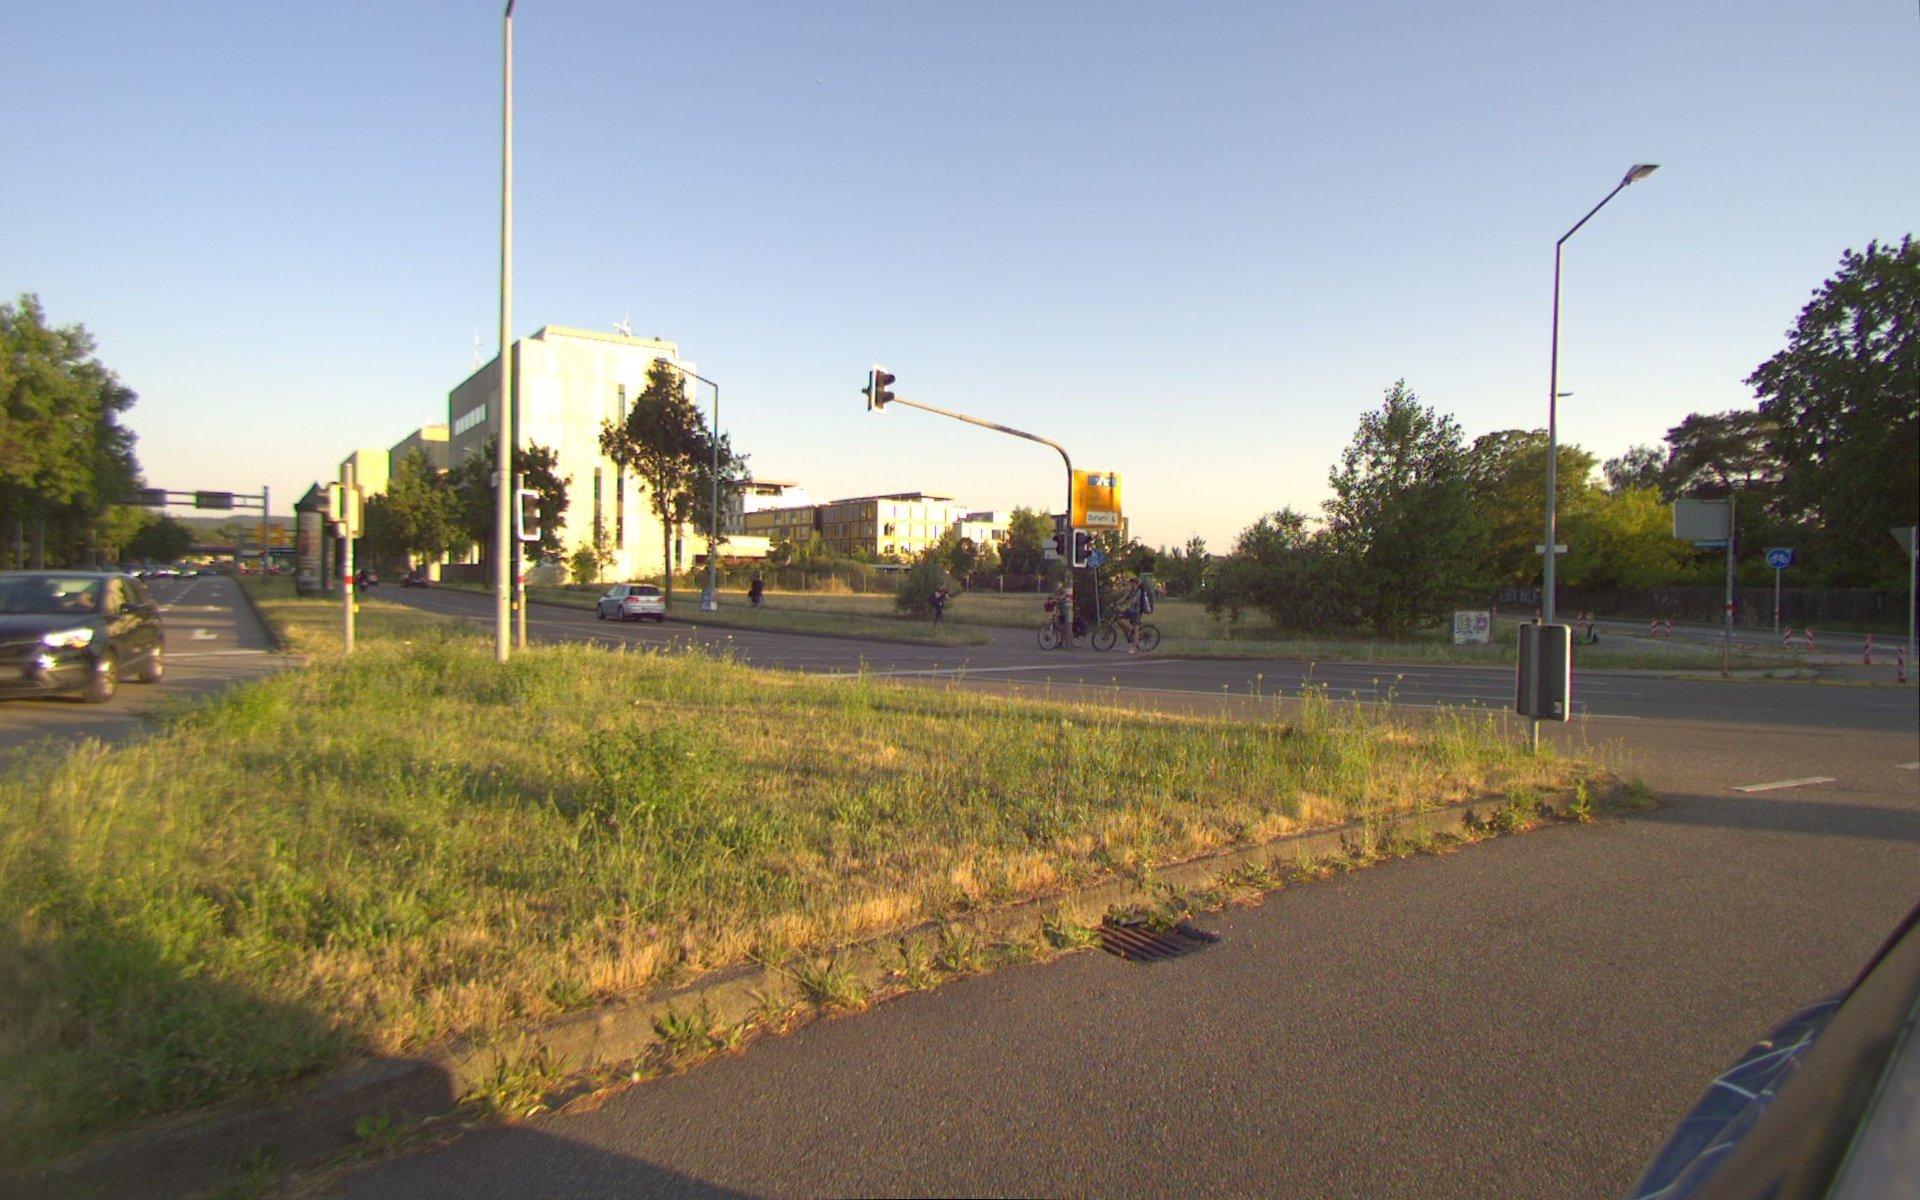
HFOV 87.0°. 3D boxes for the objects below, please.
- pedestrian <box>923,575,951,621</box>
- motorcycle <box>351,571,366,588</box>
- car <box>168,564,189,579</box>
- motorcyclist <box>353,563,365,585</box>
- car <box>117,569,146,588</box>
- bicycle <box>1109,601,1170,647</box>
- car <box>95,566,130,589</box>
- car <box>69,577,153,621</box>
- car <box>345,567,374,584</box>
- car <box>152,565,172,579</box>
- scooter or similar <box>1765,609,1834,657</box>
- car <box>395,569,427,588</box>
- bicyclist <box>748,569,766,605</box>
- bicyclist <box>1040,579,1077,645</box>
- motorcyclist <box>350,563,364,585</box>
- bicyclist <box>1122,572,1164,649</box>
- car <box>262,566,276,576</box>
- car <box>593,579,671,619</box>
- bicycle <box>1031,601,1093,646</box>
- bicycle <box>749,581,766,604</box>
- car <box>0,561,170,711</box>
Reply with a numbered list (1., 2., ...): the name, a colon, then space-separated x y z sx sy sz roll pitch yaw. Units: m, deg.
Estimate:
1. pedestrian: -0.792 -0.076 35.239 0.782 1.569 0.567 0 1 -37
2. motorcycle: -39.787 -1.372 66.898 0.548 1.114 2.158 0 1 -39
3. car: -78.593 -2.874 101.789 1.589 1.471 3.716 -1 2 -36
4. motorcyclist: -39.635 -1.695 66.713 0.625 1.426 0.594 0 1 -39
5. car: -68.806 -1.821 84.099 1.589 1.537 3.716 -1 2 -36
6. bicycle: 4.687 0.613 26.317 1.894 1.098 0.456 -2 3 -40
7. car: -58.223 -1.524 69.536 1.589 1.537 3.716 0 1 -36
8. car: -27.921 -0.079 33.396 1.841 1.325 4.138 -1 2 -36
9. car: -54.036 -2.213 91.086 1.770 1.440 4.447 1 2 -37
10. car: -89.385 -3.137 113.436 1.589 1.471 3.716 -1 2 -36
11. scooter or similar: 21.214 0.828 25.581 1.356 1.177 0.442 1 1 -2
12. car: -46.509 -1.834 85.676 1.770 1.482 3.998 1 2 -37
13. bicyclist: -10.183 -0.656 50.687 0.527 1.765 0.843 1 1 -38
14. bicyclist: 2.651 0.315 27.248 0.757 1.722 0.640 -3 3 -40
15. motorcyclist: -40.044 -1.718 67.227 0.676 1.434 0.714 0 1 -39
16. bicyclist: 4.741 0.255 26.178 0.894 1.921 0.640 -2 3 -40
17. car: -123.121 -5.182 180.378 1.785 1.544 4.133 1 2 -38
18. car: -13.098 -0.076 40.311 1.857 1.499 4.052 0 1 -35
19. bicycle: 2.743 0.616 27.166 1.894 1.098 0.456 -3 3 -40
20. bicycle: -10.149 -0.371 50.698 0.275 1.102 1.372 1 1 -37
21. car: -11.488 0.356 12.864 1.688 1.633 4.141 -1 1 -30
